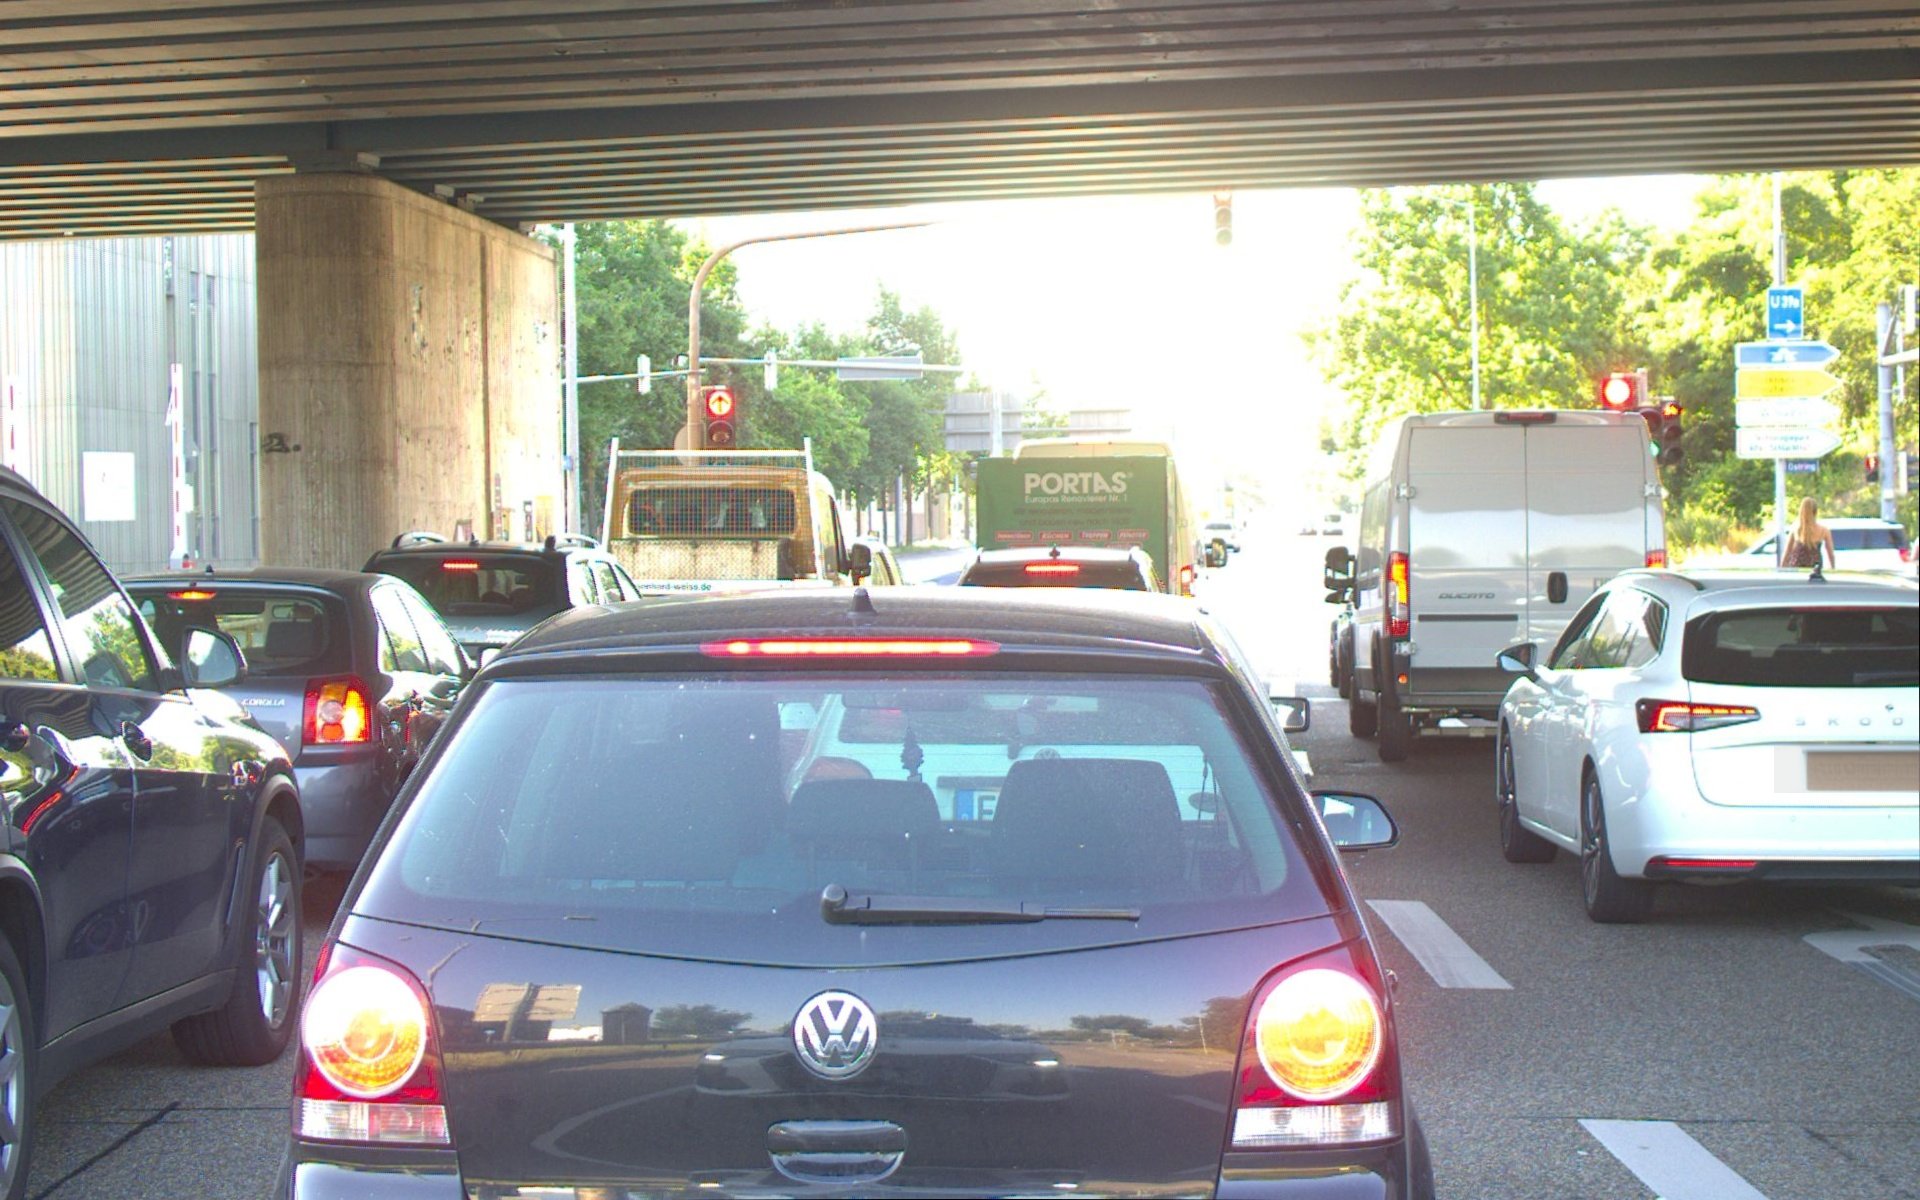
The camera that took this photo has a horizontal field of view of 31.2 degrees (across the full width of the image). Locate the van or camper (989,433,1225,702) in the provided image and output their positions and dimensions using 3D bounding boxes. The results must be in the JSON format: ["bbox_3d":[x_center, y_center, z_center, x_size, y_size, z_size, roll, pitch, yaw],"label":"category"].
[{"bbox_3d":[1.625,-0.307,35.794,1.994,2.562,5.916,0,0,7],"label":"van or camper"}]

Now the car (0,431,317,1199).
[{"bbox_3d":[-2.911,0.525,8.341,1.829,1.732,4.461,-1,0,0],"label":"car"}]

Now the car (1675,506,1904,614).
[{"bbox_3d":[14.979,-0.718,62.225,3.795,1.678,1.664,-4,0,9],"label":"car"}]

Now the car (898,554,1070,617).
[{"bbox_3d":[0.412,-0.256,60.365,2.822,1.077,1.218,0,0,-12],"label":"car"}]

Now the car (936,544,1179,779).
[{"bbox_3d":[0.727,0.410,24.335,1.582,1.527,3.831,0,0,3],"label":"car"}]

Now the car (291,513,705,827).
[{"bbox_3d":[-2.831,0.401,21.936,1.841,1.713,4.000,-4,0,2],"label":"car"}]

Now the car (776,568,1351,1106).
[{"bbox_3d":[0.329,0.638,11.204,1.547,1.418,3.417,2,1,2],"label":"car"}]

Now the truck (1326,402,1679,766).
[{"bbox_3d":[4.079,-0.117,26.582,2.111,2.511,4.401,-2,0,2],"label":"truck"}]

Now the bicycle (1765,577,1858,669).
[{"bbox_3d":[9.309,0.249,37.676,0.579,0.960,2.885,-1,0,6],"label":"bicycle"}]

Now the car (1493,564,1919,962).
[{"bbox_3d":[3.466,0.616,15.039,1.772,1.490,3.831,-2,0,2],"label":"car"}]

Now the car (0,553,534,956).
[{"bbox_3d":[-3.029,0.595,14.908,1.841,1.435,3.675,-4,0,0],"label":"car"}]

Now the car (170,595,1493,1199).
[{"bbox_3d":[-0.197,0.706,6.026,1.581,1.404,3.832,0,0,-1],"label":"car"}]

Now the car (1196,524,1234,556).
[{"bbox_3d":[11.354,-2.657,153.058,1.339,1.277,2.893,-4,0,-1],"label":"car"}]

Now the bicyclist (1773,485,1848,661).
[{"bbox_3d":[9.331,-0.295,37.752,0.682,1.900,0.833,0,0,7],"label":"bicyclist"}]

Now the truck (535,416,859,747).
[{"bbox_3d":[-2.121,-0.139,29.402,2.028,2.548,5.536,0,0,3],"label":"truck"}]

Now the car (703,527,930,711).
[{"bbox_3d":[-1.505,0.202,37.616,1.994,1.894,3.999,-1,0,5],"label":"car"}]

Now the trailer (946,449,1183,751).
[{"bbox_3d":[0.992,0.000,30.504,1.864,2.456,3.831,-2,0,4],"label":"trailer"}]
